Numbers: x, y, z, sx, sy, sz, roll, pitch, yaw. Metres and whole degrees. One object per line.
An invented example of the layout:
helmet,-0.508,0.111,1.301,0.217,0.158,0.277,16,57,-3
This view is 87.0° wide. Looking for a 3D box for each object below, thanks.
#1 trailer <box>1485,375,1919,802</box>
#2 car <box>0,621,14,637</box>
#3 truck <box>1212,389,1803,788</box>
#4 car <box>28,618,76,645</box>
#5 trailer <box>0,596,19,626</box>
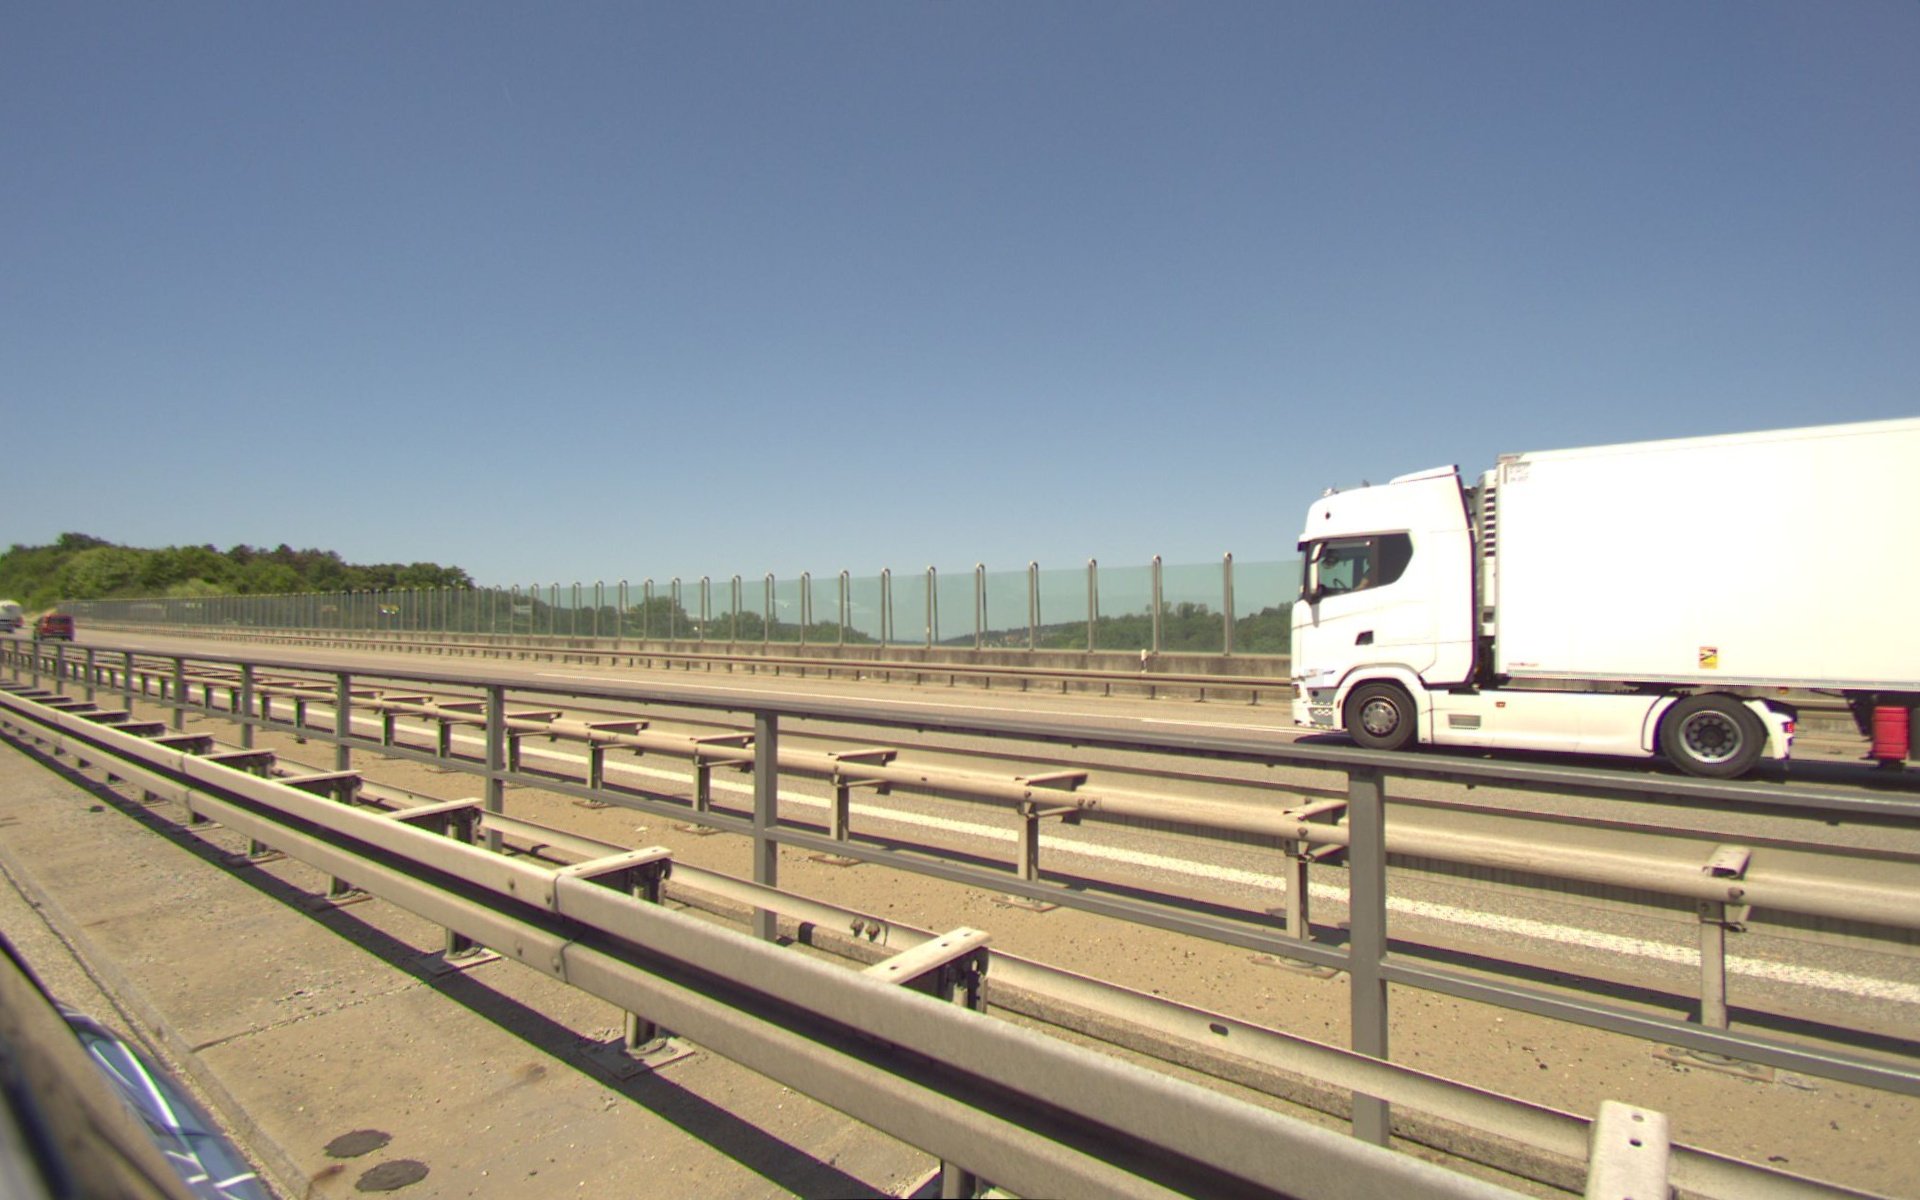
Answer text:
trailer,12.769,-0.086,9.519,13.655,4.340,2.875,0,-2,41
car,-88.784,2.637,93.252,4.382,1.453,1.852,-1,-3,40
truck,7.414,-0.039,14.323,6.855,4.326,2.898,0,-4,42
car,-63.372,2.182,70.613,4.744,1.836,1.821,0,-2,40
trailer,-120.809,1.383,127.194,10.898,3.567,2.472,0,-2,41
